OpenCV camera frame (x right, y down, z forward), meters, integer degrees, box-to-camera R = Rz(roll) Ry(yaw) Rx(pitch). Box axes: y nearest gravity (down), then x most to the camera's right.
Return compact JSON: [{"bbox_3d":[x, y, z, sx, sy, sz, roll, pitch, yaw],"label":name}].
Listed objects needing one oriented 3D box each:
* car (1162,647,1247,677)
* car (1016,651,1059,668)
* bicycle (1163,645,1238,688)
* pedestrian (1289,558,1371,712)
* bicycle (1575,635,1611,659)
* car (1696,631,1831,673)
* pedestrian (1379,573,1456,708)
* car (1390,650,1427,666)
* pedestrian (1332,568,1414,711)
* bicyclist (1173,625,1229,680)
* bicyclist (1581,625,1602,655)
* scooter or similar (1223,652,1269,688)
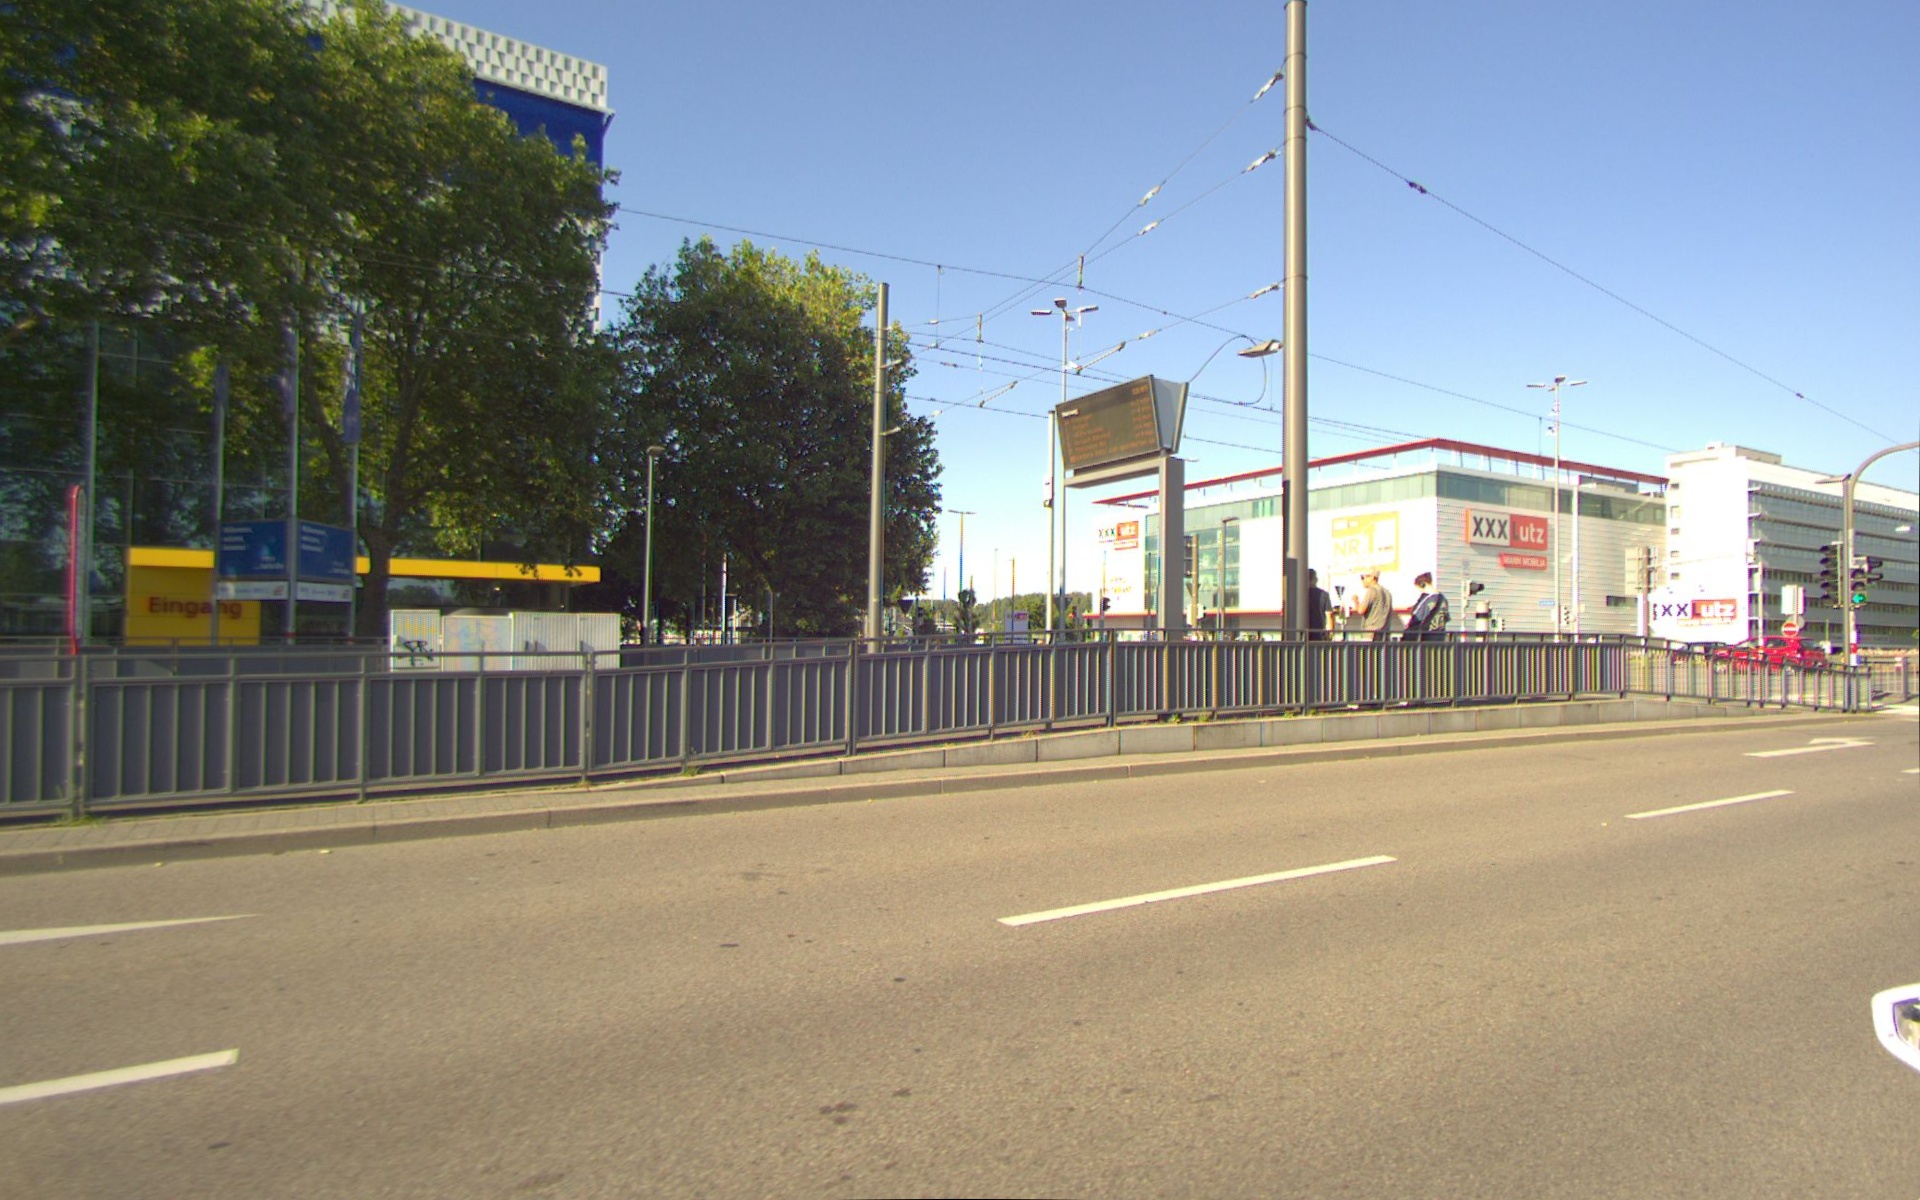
[{"bbox_3d":[12.971,3.316,53.462,1.994,1.517,4.221,2,-5,-33],"label":"car"},{"bbox_3d":[7.999,6.183,104.141,4.168,1.589,1.906,1,1,-7],"label":"car"},{"bbox_3d":[7.323,2.011,30.656,0.709,1.234,2.253,4,-4,-40],"label":"bicycle"},{"bbox_3d":[4.465,0.412,12.155,0.528,1.799,0.704,2,1,-26],"label":"pedestrian"},{"bbox_3d":[32.596,2.429,51.708,1.965,1.183,0.586,1,0,-26],"label":"bicycle"},{"bbox_3d":[30.523,2.025,38.267,1.745,1.478,3.569,1,-5,-21],"label":"car"},{"bbox_3d":[5.893,0.514,12.947,0.741,1.679,0.531,2,0,-29],"label":"pedestrian"},{"bbox_3d":[54.485,7.018,121.969,4.400,1.725,1.910,1,1,-32],"label":"car"},{"bbox_3d":[5.114,0.475,12.434,0.751,1.715,0.531,2,1,-29],"label":"pedestrian"},{"bbox_3d":[7.351,1.601,30.661,0.816,1.638,1.469,4,-4,-40],"label":"bicyclist"},{"bbox_3d":[32.481,2.044,51.646,0.741,1.543,0.586,1,0,-25],"label":"bicyclist"},{"bbox_3d":[8.364,2.047,29.368,0.783,1.028,1.054,4,-4,-40],"label":"scooter or similar"}]
